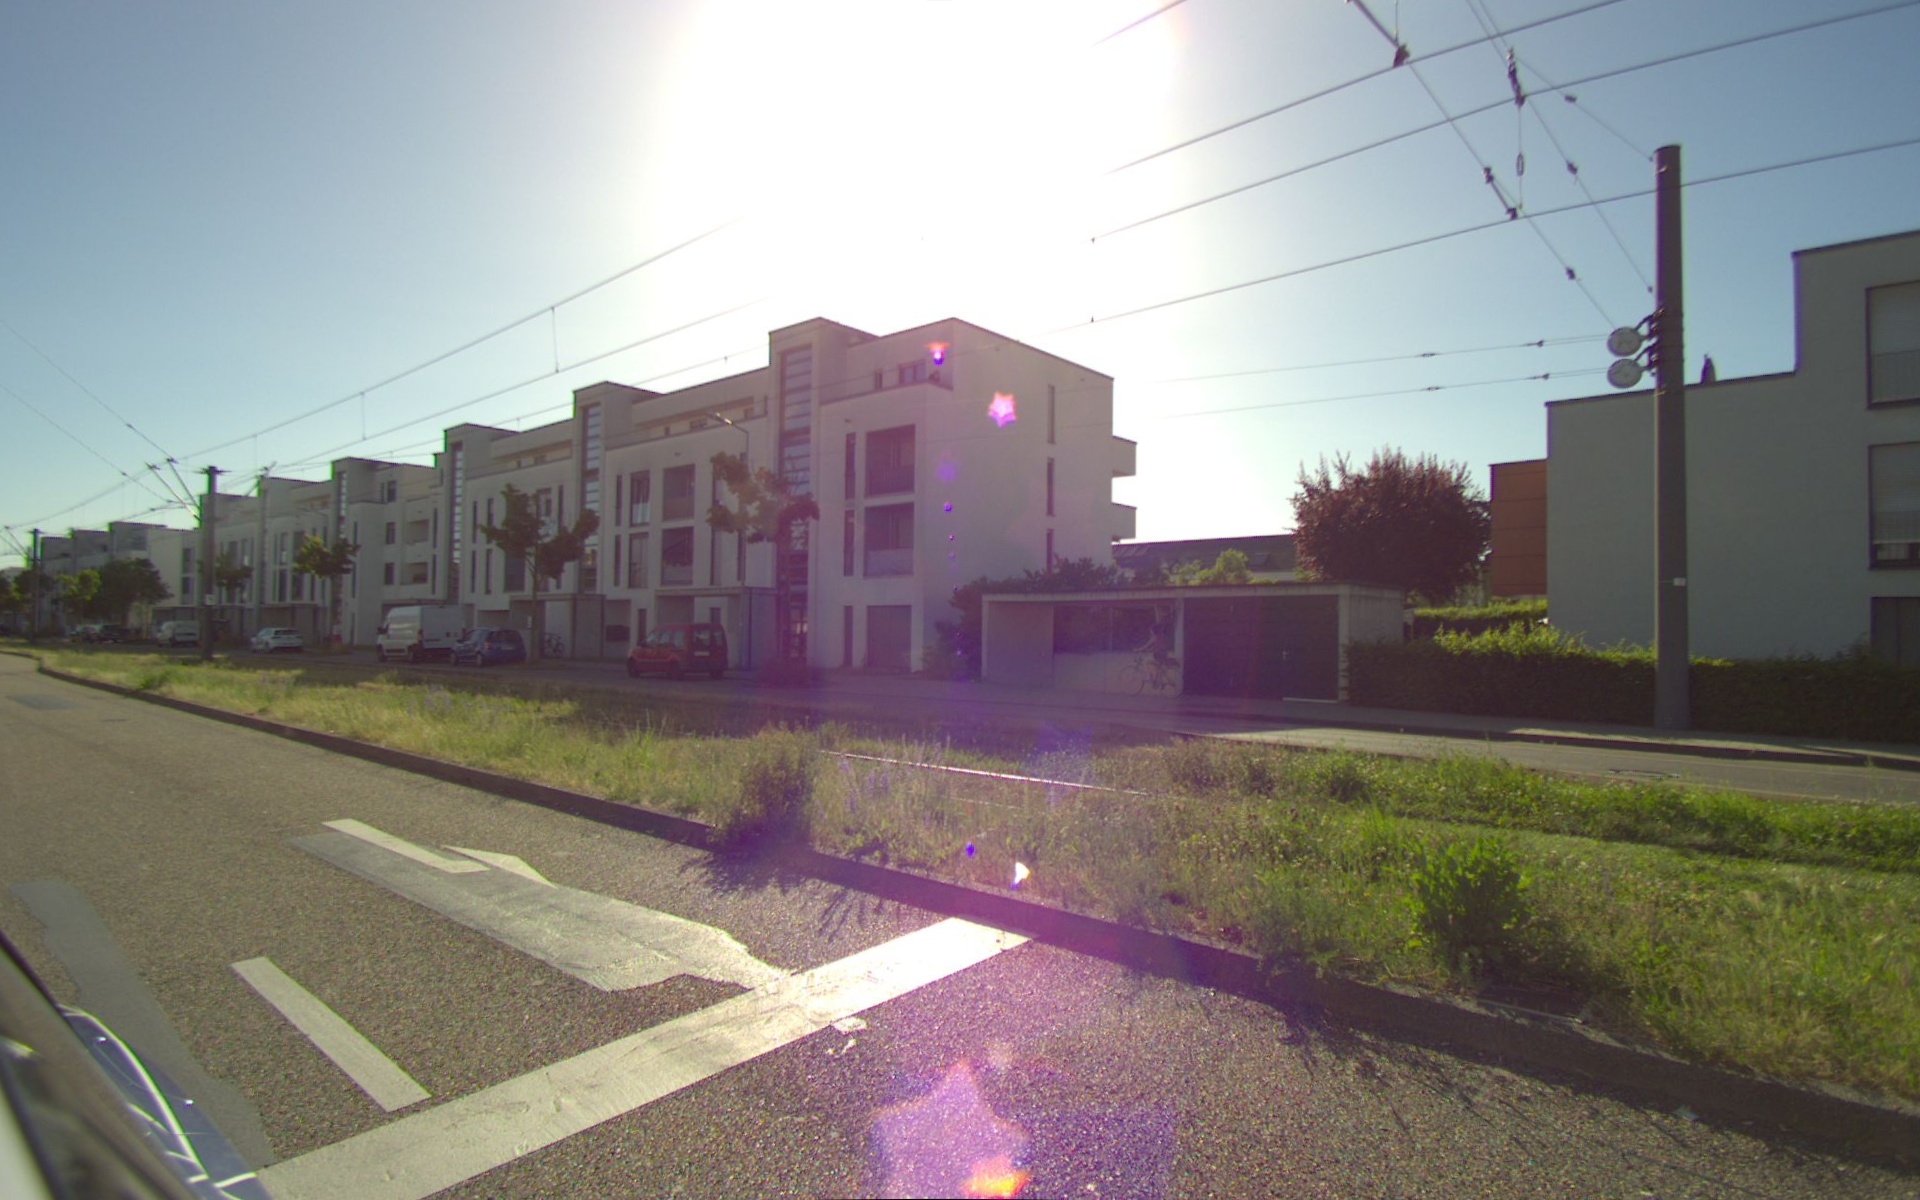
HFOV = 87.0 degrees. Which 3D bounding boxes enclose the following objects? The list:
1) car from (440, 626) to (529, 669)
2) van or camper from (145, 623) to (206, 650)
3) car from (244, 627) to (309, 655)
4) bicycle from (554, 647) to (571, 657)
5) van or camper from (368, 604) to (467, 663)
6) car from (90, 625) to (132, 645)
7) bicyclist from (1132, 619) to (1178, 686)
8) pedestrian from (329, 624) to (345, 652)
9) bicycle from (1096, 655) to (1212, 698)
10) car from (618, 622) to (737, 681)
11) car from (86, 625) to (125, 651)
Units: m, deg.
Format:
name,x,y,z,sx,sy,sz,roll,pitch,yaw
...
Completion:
name,x,y,z,sx,sy,sz,roll,pitch,yaw
car,-19.185,1.898,40.779,3.835,1.625,1.909,-1,-3,42
van or camper,-56.268,2.575,72.525,6.282,1.862,2.243,-1,-2,41
car,-39.727,2.369,58.791,4.117,1.598,2.021,-1,-3,39
bicycle,-19.559,2.548,49.813,1.060,0.502,0.349,-2,-4,41
van or camper,-24.285,1.510,45.222,5.258,2.484,2.168,-1,-3,42
car,-66.186,2.720,78.892,3.492,1.449,1.844,0,0,38
bicyclist,4.482,1.207,23.250,0.744,1.502,0.881,-1,-3,36
pedestrian,-36.330,2.207,58.994,0.611,1.656,0.612,-1,-1,35
bicycle,4.438,1.730,23.258,2.479,0.899,0.891,-1,-3,37
car,-8.896,1.590,31.710,3.908,1.736,1.769,-1,-4,43
car,-70.968,3.145,84.042,3.995,2.029,1.765,-1,-1,39
